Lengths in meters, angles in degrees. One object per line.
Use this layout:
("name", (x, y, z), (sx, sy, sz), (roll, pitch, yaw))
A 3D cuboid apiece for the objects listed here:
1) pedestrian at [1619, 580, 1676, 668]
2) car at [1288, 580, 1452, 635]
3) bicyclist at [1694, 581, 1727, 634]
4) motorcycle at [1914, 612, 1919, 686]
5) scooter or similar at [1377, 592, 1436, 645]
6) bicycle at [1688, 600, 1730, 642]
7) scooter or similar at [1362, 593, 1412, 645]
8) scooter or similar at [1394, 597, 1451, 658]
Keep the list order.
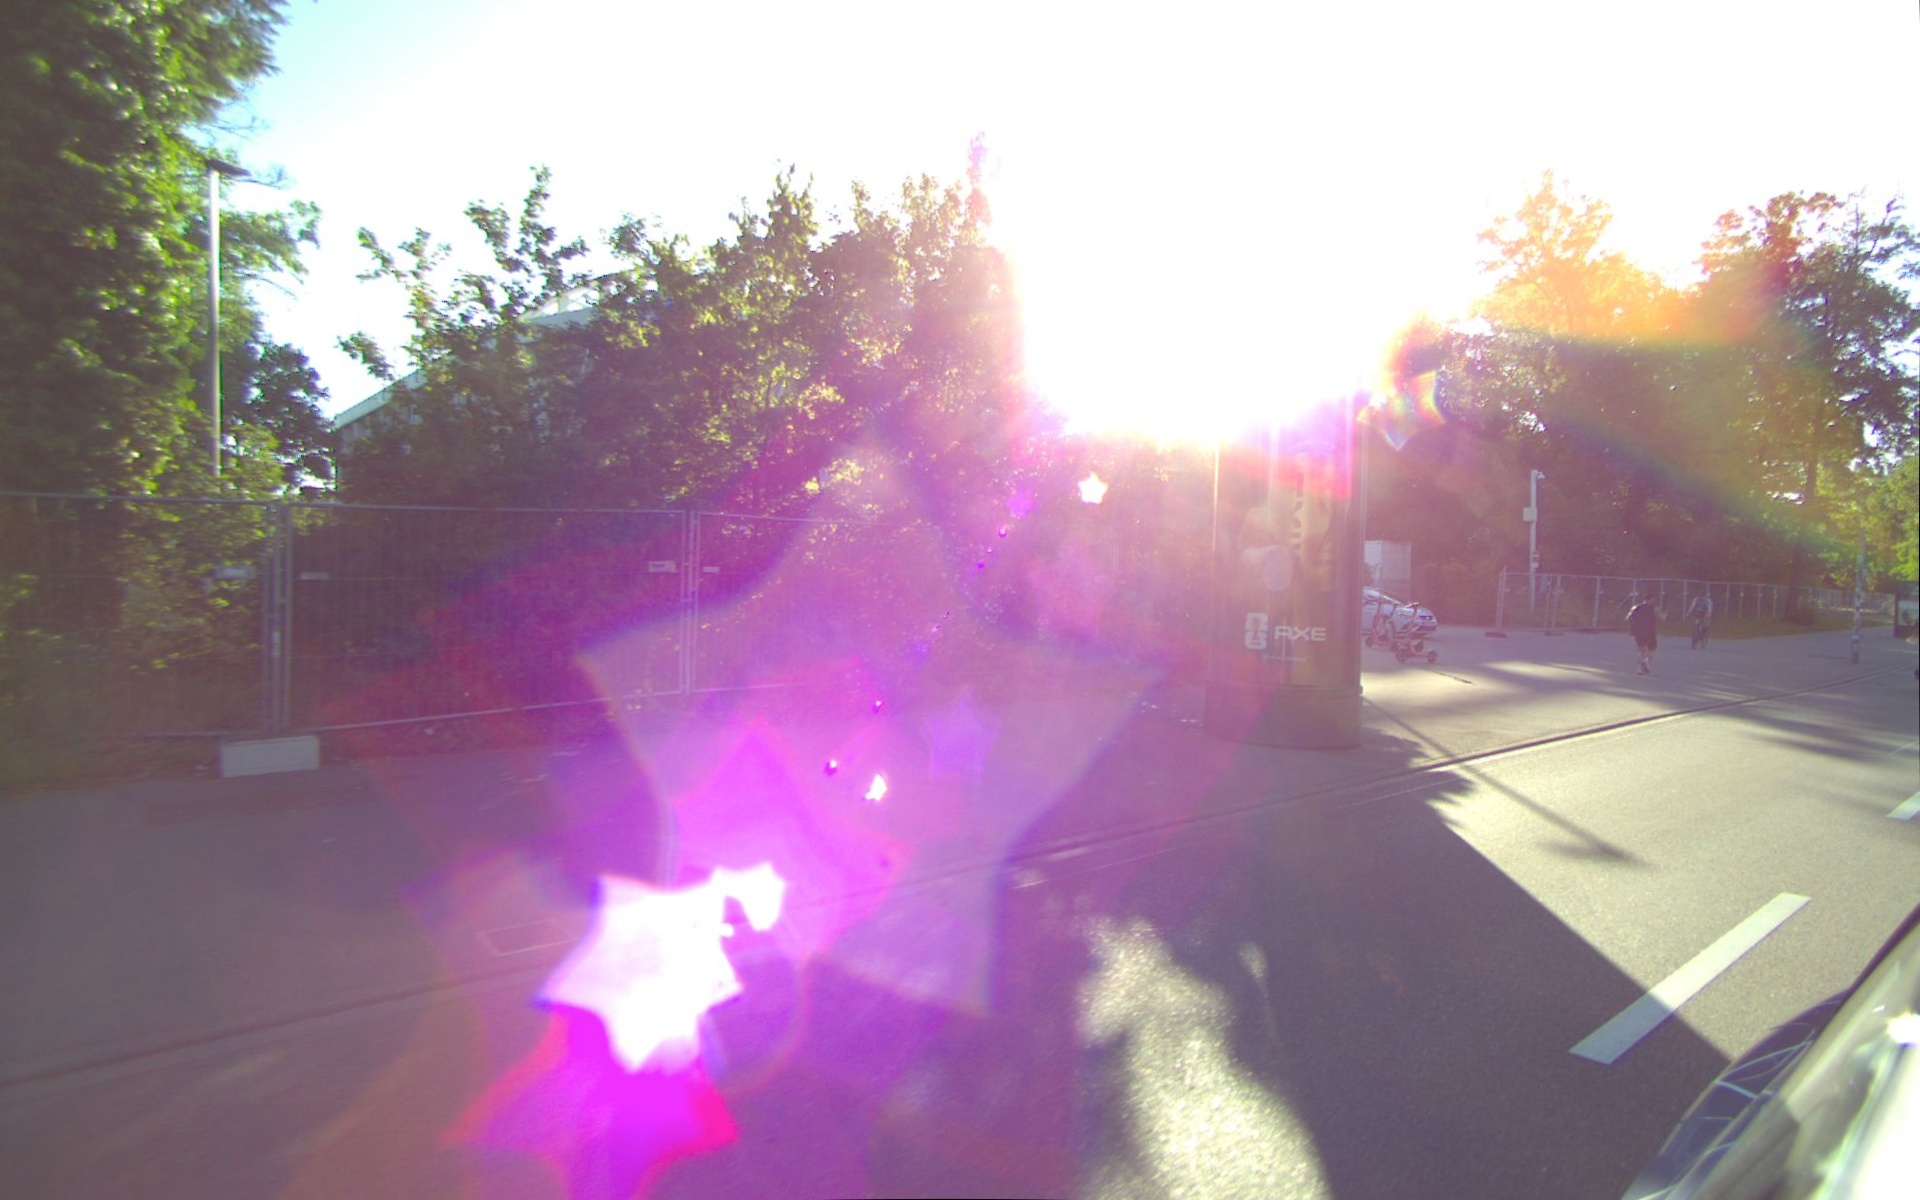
("pedestrian", (13.729, 0.462, 20.222), (0.865, 1.709, 0.628), (0, 0, -31))
("car", (12.311, 0.162, 30.670), (1.784, 1.395, 4.391), (0, 3, -32))
("bicyclist", (21.659, 0.216, 29.208), (0.846, 1.486, 0.521), (0, 4, -41))
("motorcycle", (17.793, 0.833, 17.997), (2.911, 1.266, 0.915), (0, -1, -41))
("scooter or similar", (10.762, 0.433, 24.408), (0.386, 1.160, 1.271), (-1, 4, -32))
("bicycle", (21.654, 0.591, 29.229), (1.831, 1.151, 0.555), (0, 3, -41))
("scooter or similar", (10.173, 0.434, 24.141), (0.386, 1.181, 1.251), (0, 2, -15))
("scooter or similar", (9.386, 0.553, 20.519), (1.381, 1.186, 0.282), (1, 2, -32))
